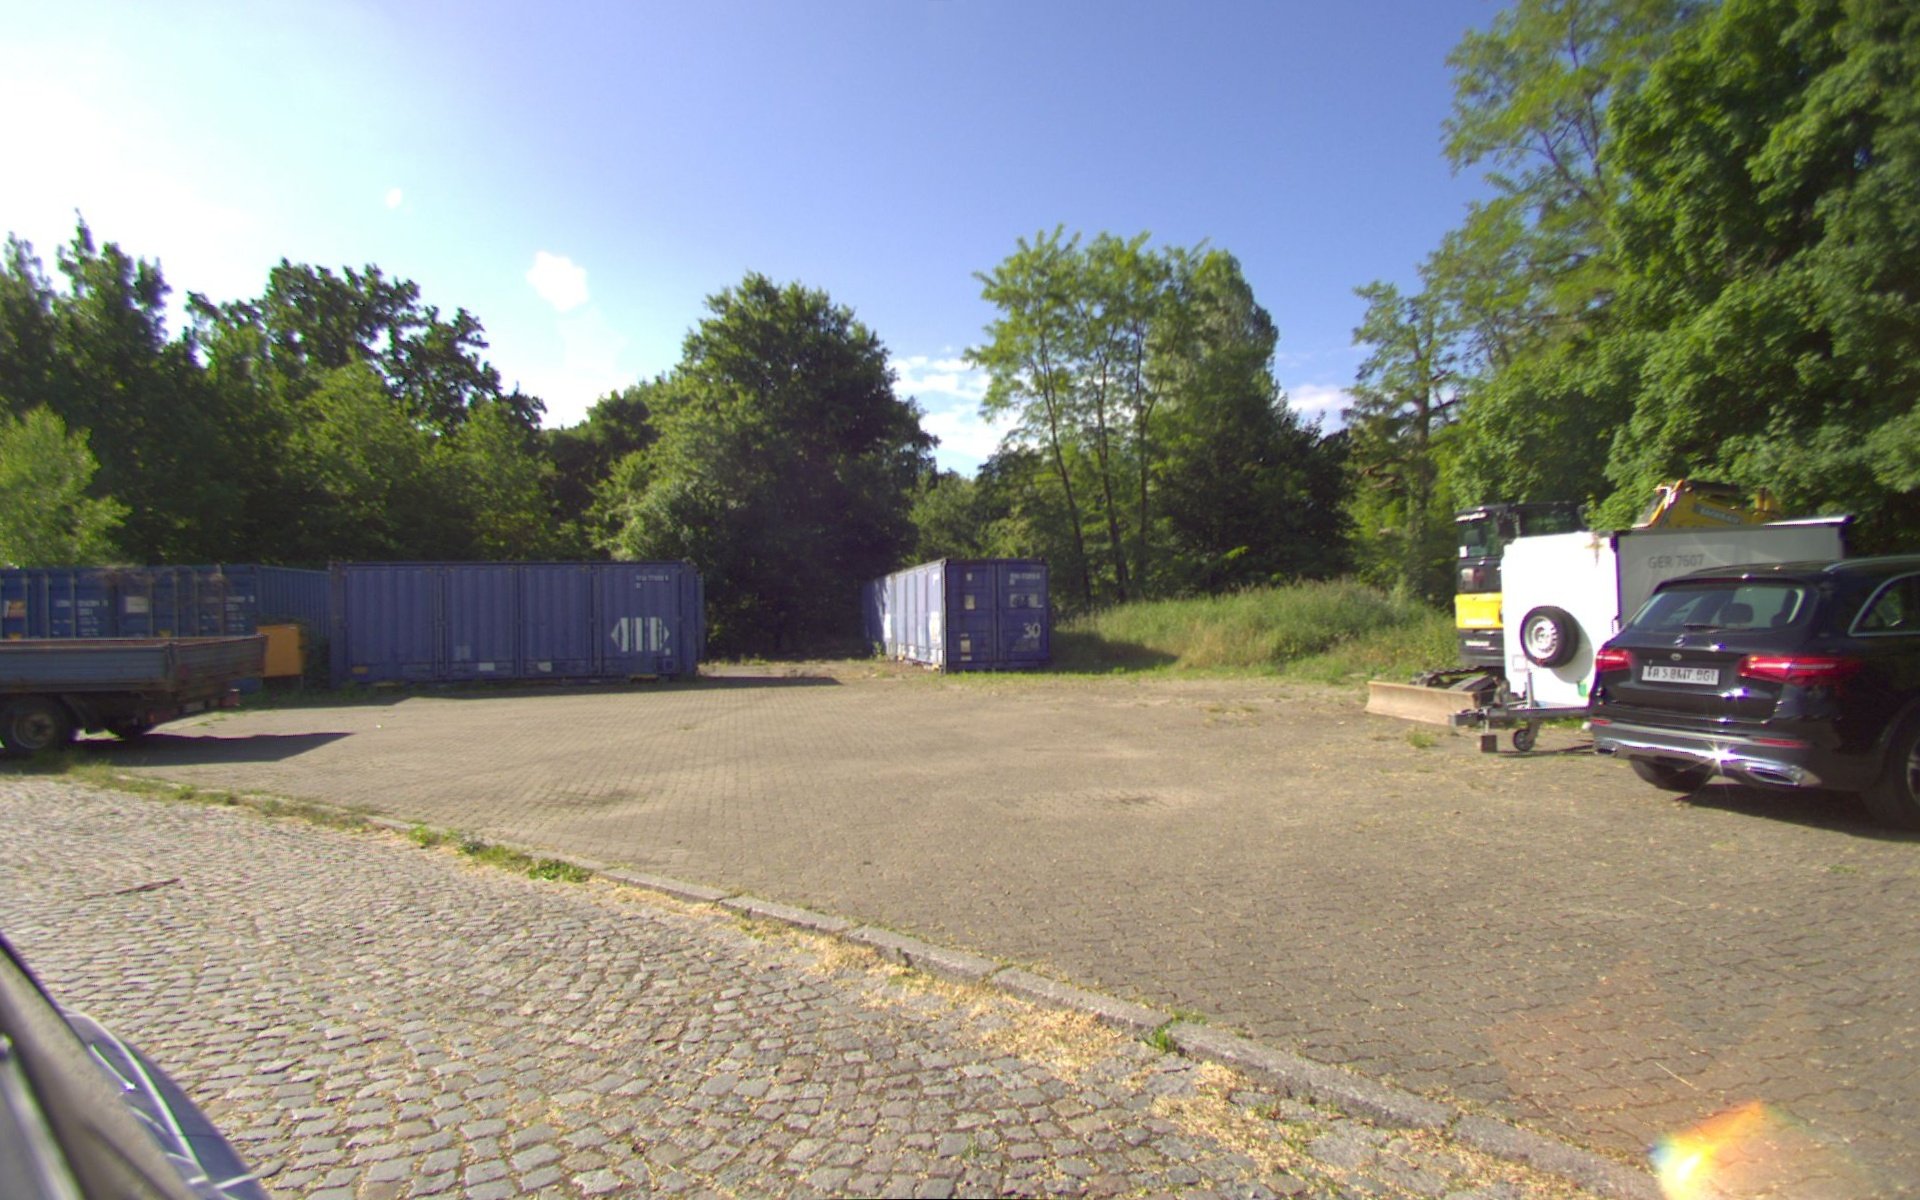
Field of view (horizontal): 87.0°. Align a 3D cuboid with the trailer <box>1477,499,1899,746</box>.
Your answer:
[{"bbox_3d":[6.932,0.176,9.825,2.803,2.066,1.828,-2,0,-11],"label":"trailer"}]

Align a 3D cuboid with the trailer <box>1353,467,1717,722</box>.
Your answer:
[{"bbox_3d":[6.716,-0.082,12.090,2.804,2.557,2.271,-4,0,-11],"label":"trailer"}]

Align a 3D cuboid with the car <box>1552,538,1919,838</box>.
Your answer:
[{"bbox_3d":[6.540,0.415,6.839,4.063,1.601,1.975,-2,0,-12],"label":"car"}]

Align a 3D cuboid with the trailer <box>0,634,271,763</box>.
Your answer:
[{"bbox_3d":[-12.113,1.213,12.983,4.781,1.425,2.656,0,-1,-12],"label":"trailer"}]
